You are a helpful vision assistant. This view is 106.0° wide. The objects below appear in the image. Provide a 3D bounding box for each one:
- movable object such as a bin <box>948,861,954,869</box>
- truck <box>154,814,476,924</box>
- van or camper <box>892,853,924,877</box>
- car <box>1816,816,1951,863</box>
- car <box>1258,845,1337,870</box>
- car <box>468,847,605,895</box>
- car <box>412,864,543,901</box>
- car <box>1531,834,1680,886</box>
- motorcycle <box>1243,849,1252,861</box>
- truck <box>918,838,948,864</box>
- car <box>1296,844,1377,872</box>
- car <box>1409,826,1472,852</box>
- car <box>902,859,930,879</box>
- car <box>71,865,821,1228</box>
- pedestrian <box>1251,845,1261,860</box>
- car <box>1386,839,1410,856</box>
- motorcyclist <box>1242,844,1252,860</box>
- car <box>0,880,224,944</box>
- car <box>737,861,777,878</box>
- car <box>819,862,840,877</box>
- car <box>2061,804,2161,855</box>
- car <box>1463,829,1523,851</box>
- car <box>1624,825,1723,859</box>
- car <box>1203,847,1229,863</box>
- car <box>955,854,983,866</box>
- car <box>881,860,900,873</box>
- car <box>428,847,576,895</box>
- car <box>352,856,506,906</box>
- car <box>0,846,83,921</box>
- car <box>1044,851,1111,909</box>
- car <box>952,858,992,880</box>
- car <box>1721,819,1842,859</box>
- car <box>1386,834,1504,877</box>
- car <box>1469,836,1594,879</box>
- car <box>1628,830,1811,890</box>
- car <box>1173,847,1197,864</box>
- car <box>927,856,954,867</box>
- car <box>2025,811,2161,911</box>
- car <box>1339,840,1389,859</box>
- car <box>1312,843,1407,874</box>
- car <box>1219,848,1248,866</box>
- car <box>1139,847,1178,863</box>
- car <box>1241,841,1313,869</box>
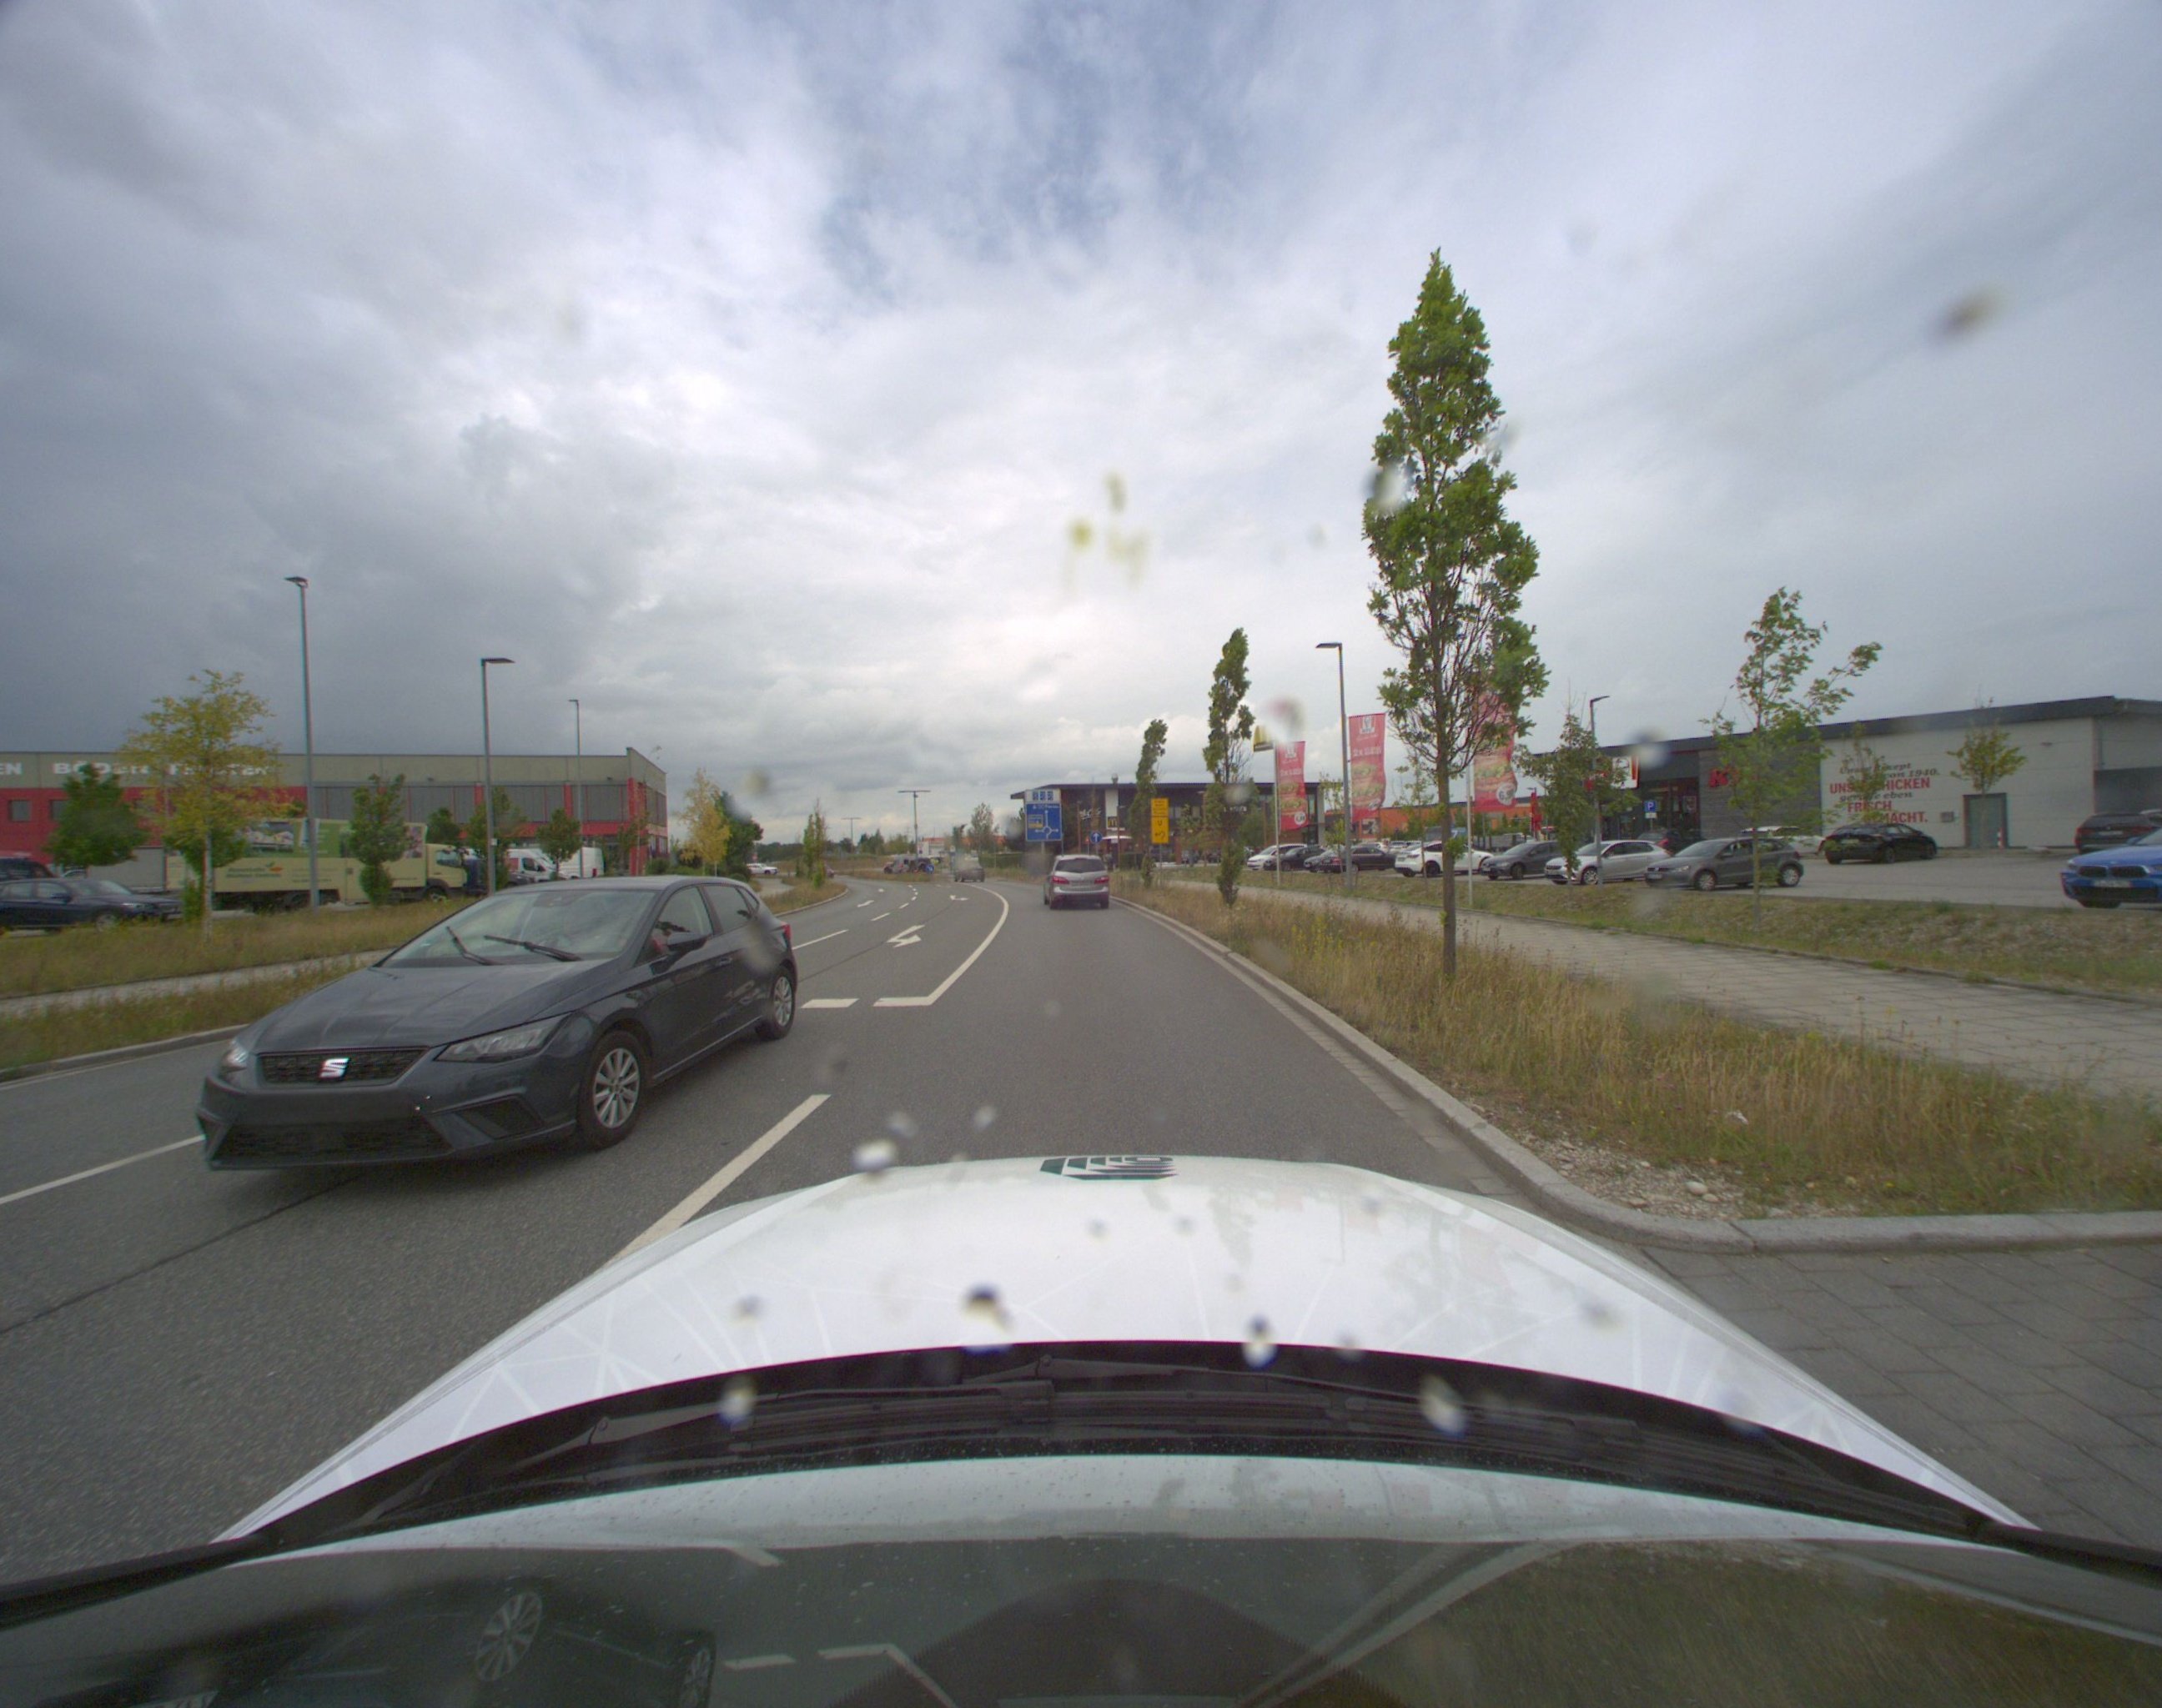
[{"bbox_3d":[-13.417,1.169,84.023,0.458,0.798,0.377,-2,-1,-23],"label":"movable object such as a bin"},{"bbox_3d":[-28.210,0.494,30.742,2.826,3.541,8.469,-2,0,18],"label":"truck"},{"bbox_3d":[-18.661,1.156,87.620,2.313,2.506,5.165,-1,0,-23],"label":"van or camper"},{"bbox_3d":[30.608,-0.563,31.056,4.579,1.519,1.963,-3,0,-22],"label":"car"},{"bbox_3d":[13.847,0.211,52.227,4.480,1.436,2.061,-2,0,-18],"label":"car"},{"bbox_3d":[-32.703,0.997,49.183,6.427,2.598,2.229,-2,0,-19],"label":"car"},{"bbox_3d":[-30.531,1.418,41.383,4.921,1.617,1.980,-2,0,-22],"label":"car"},{"bbox_3d":[17.807,0.205,27.760,3.855,1.481,1.899,-4,0,-5],"label":"car"},{"bbox_3d":[18.564,0.082,90.771,0.850,1.244,1.975,-2,0,16],"label":"motorcycle"},{"bbox_3d":[-24.074,-0.406,132.239,3.144,3.906,9.270,-2,0,-20],"label":"truck"},{"bbox_3d":[14.872,0.229,47.398,4.094,1.438,1.932,-3,0,-17],"label":"car"},{"bbox_3d":[38.989,-1.597,88.286,5.970,2.528,2.295,-2,0,28],"label":"car"},{"bbox_3d":[-16.170,1.422,79.597,2.065,1.826,4.754,-2,0,-19],"label":"car"},{"bbox_3d":[-3.366,0.838,5.588,1.824,1.420,4.243,-2,0,-1],"label":"car"},{"bbox_3d":[17.592,-0.125,81.851,0.760,1.439,0.628,-2,0,37],"label":"pedestrian"},{"bbox_3d":[28.391,-0.575,72.917,1.933,1.443,4.241,-2,0,21],"label":"car"},{"bbox_3d":[18.551,-0.224,90.786,0.954,1.832,0.849,-2,0,16],"label":"motorcyclist"},{"bbox_3d":[-26.596,1.538,22.101,4.226,1.435,1.994,-2,0,-6],"label":"car"},{"bbox_3d":[-42.848,2.068,107.811,4.613,2.013,1.992,-2,0,-12],"label":"car"},{"bbox_3d":[-29.896,1.855,96.725,1.807,1.669,4.293,-5,1,-23],"label":"car"},{"bbox_3d":[35.461,-0.871,27.364,4.579,1.519,1.883,-3,0,-22],"label":"car"},{"bbox_3d":[38.996,-1.328,77.181,1.875,1.816,4.636,-2,0,-40],"label":"car"},{"bbox_3d":[30.380,-0.610,41.745,4.381,1.519,2.033,-3,0,-22],"label":"car"},{"bbox_3d":[15.015,0.098,90.587,2.098,1.717,4.251,-2,0,19],"label":"car"},{"bbox_3d":[-19.011,1.033,137.899,4.605,1.757,1.992,-2,0,-12],"label":"car"},{"bbox_3d":[-24.234,1.622,103.621,1.993,1.515,3.987,-2,0,-9],"label":"car"},{"bbox_3d":[-31.354,0.891,44.369,6.089,2.307,2.195,-2,0,-20],"label":"car"},{"bbox_3d":[-29.471,1.183,36.988,4.905,1.990,2.170,-2,0,-12],"label":"car"},{"bbox_3d":[-40.108,1.104,30.050,2.069,2.690,5.103,-2,0,-25],"label":"car"},{"bbox_3d":[-0.194,0.741,25.031,1.727,1.600,3.800,-1,0,-5],"label":"car"},{"bbox_3d":[-7.862,1.051,58.573,1.852,1.418,4.194,-2,0,-22],"label":"car"},{"bbox_3d":[31.306,-0.651,36.413,4.577,1.519,2.067,-3,0,-20],"label":"car"},{"bbox_3d":[16.753,0.066,37.597,4.562,1.645,2.081,-4,0,-11],"label":"car"},{"bbox_3d":[18.020,0.128,32.698,3.983,1.484,1.936,-3,-1,-7],"label":"car"},{"bbox_3d":[17.900,0.158,22.949,3.750,1.494,1.888,-2,0,-3],"label":"car"},{"bbox_3d":[11.296,0.154,88.454,1.979,1.717,4.016,-2,0,15],"label":"car"},{"bbox_3d":[-20.981,1.058,121.756,1.975,1.515,4.023,-2,0,24],"label":"car"},{"bbox_3d":[18.533,0.029,13.189,4.249,1.520,1.965,-2,0,-1],"label":"car"},{"bbox_3d":[28.362,-0.434,81.684,4.679,1.656,2.010,-2,0,19],"label":"car"},{"bbox_3d":[15.181,0.208,44.442,4.525,1.469,2.022,-2,0,-15],"label":"car"},{"bbox_3d":[12.394,0.201,65.867,1.797,1.313,3.867,-2,0,17],"label":"car"},{"bbox_3d":[9.134,0.120,95.939,4.003,1.717,1.985,-2,0,-22],"label":"car"},{"bbox_3d":[13.125,0.048,54.632,4.363,1.639,1.924,-2,0,-21],"label":"car"}]
